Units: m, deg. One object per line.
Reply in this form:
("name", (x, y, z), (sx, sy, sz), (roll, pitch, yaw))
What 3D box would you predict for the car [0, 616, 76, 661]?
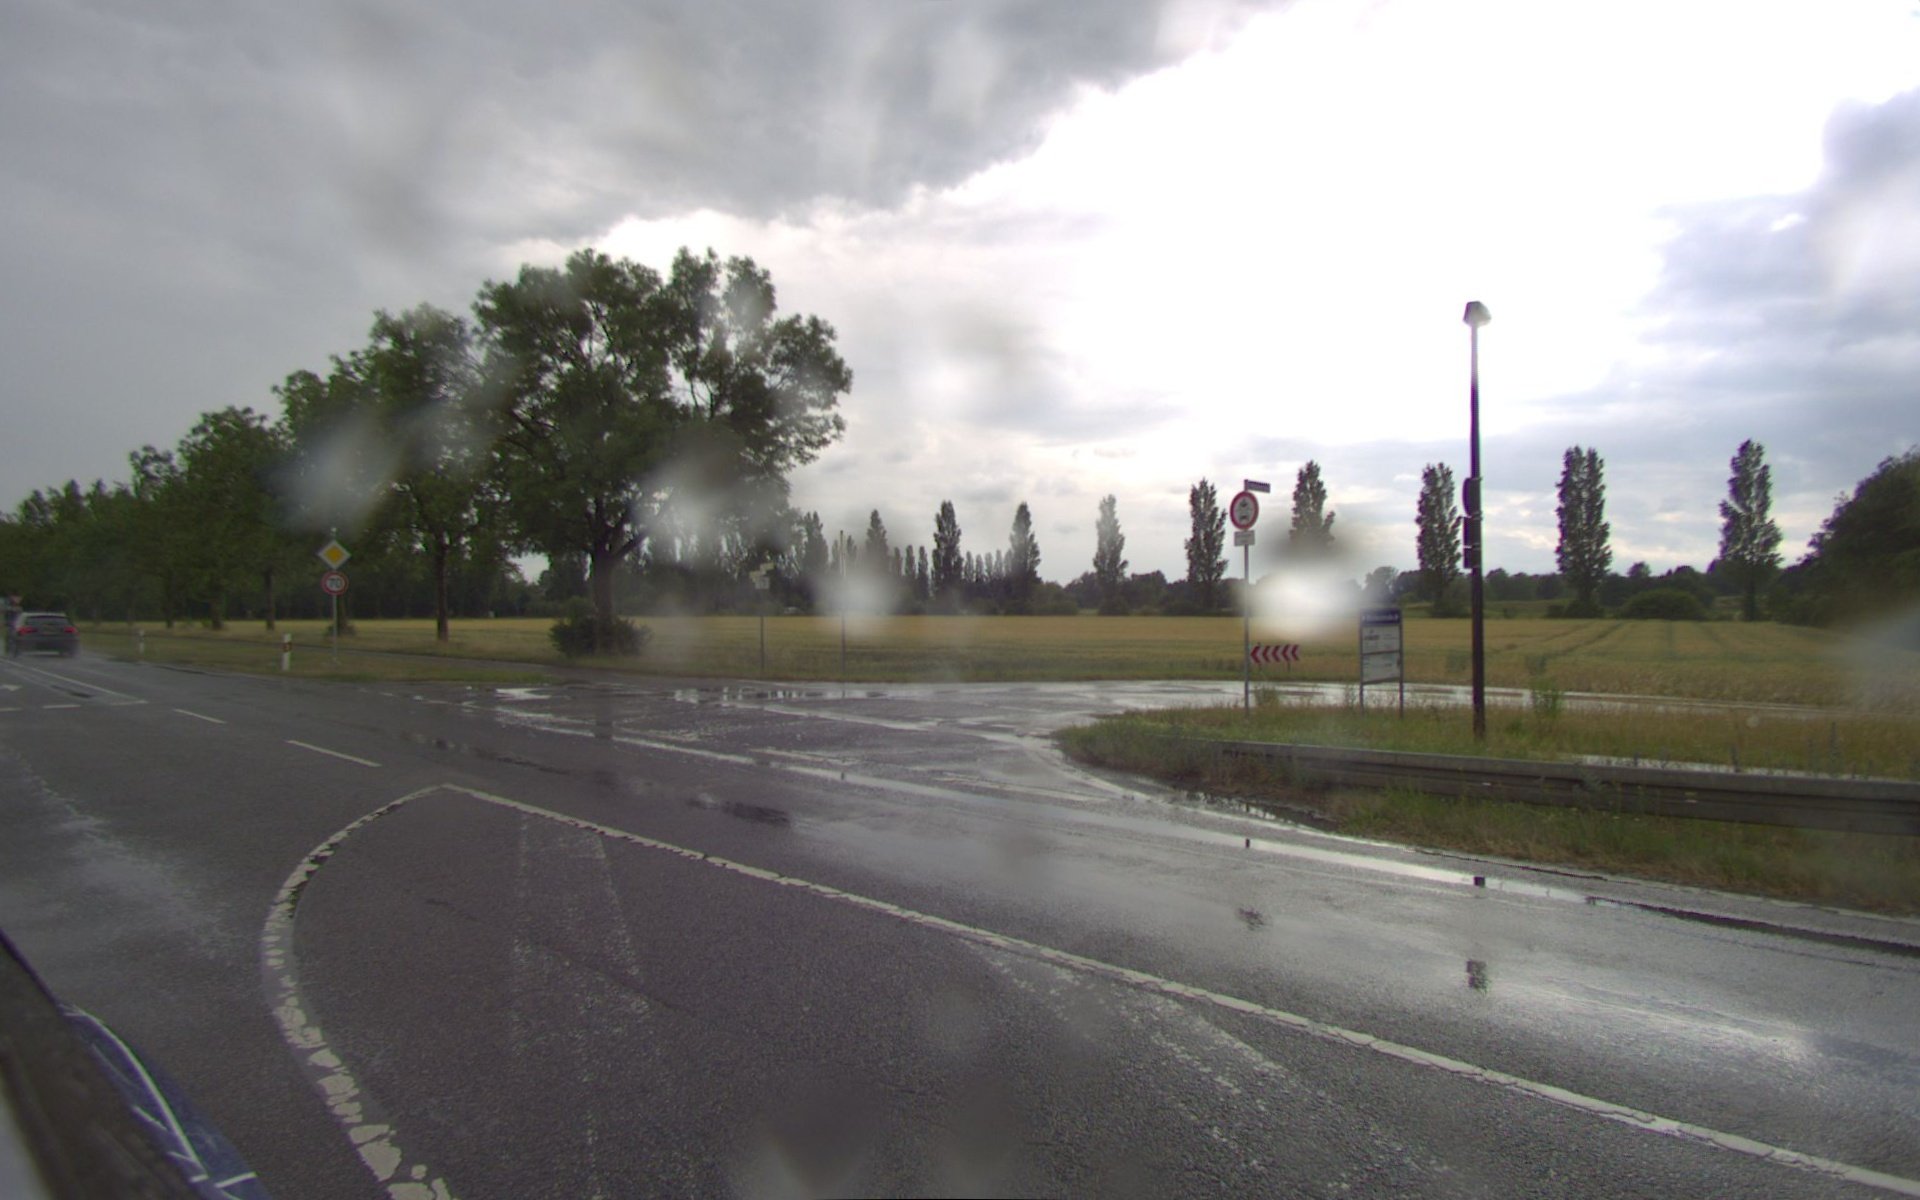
("car", (-33.567, 1.368, 36.722), (4.140, 1.535, 1.750), (-1, -2, 42))
